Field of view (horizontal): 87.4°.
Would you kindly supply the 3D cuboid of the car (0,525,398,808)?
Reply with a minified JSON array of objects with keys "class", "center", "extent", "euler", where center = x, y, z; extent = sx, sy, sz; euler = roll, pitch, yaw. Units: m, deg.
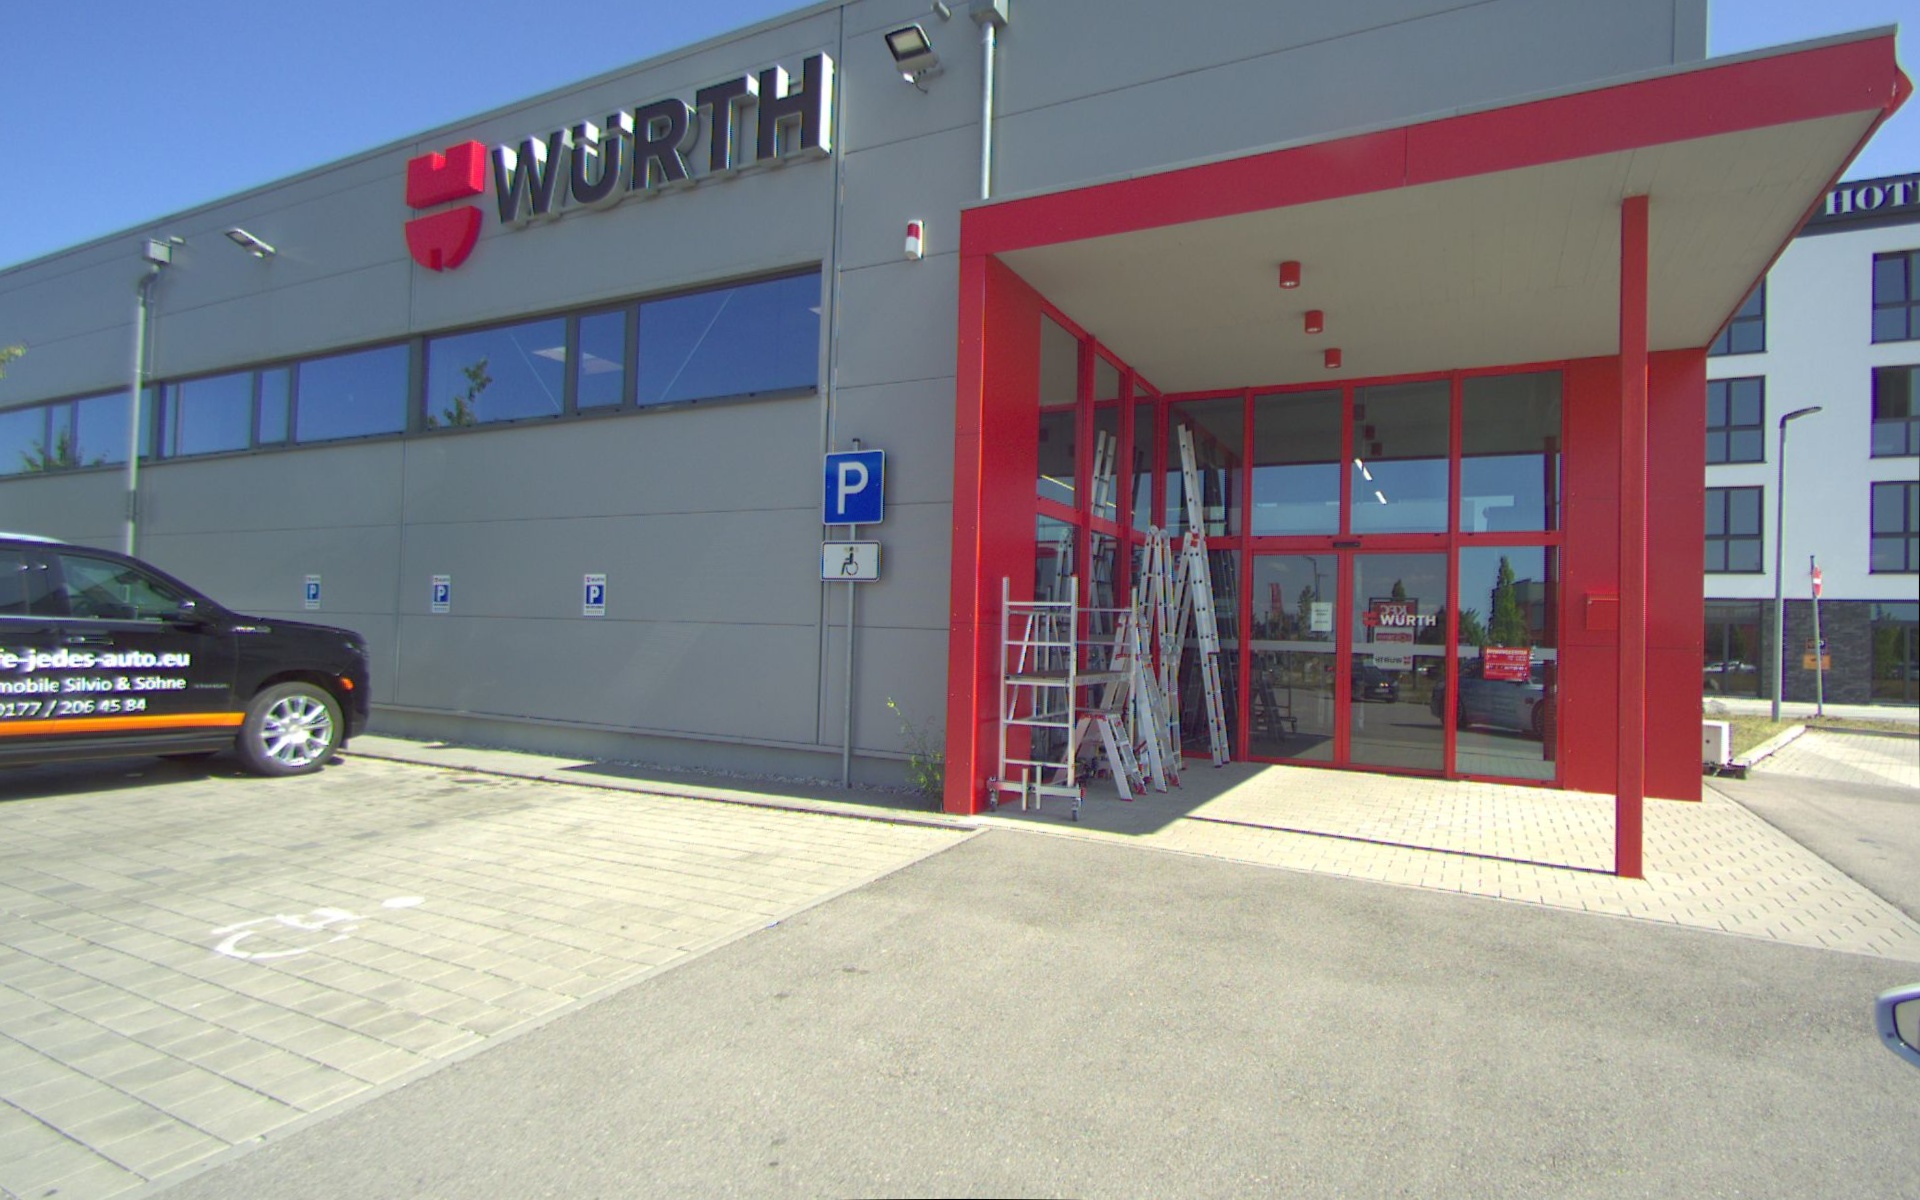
[{"class":"car","center":[-7.456,0.463,7.587],"extent":[1.994,1.964,5.375],"euler":[0,-2,27]}]
